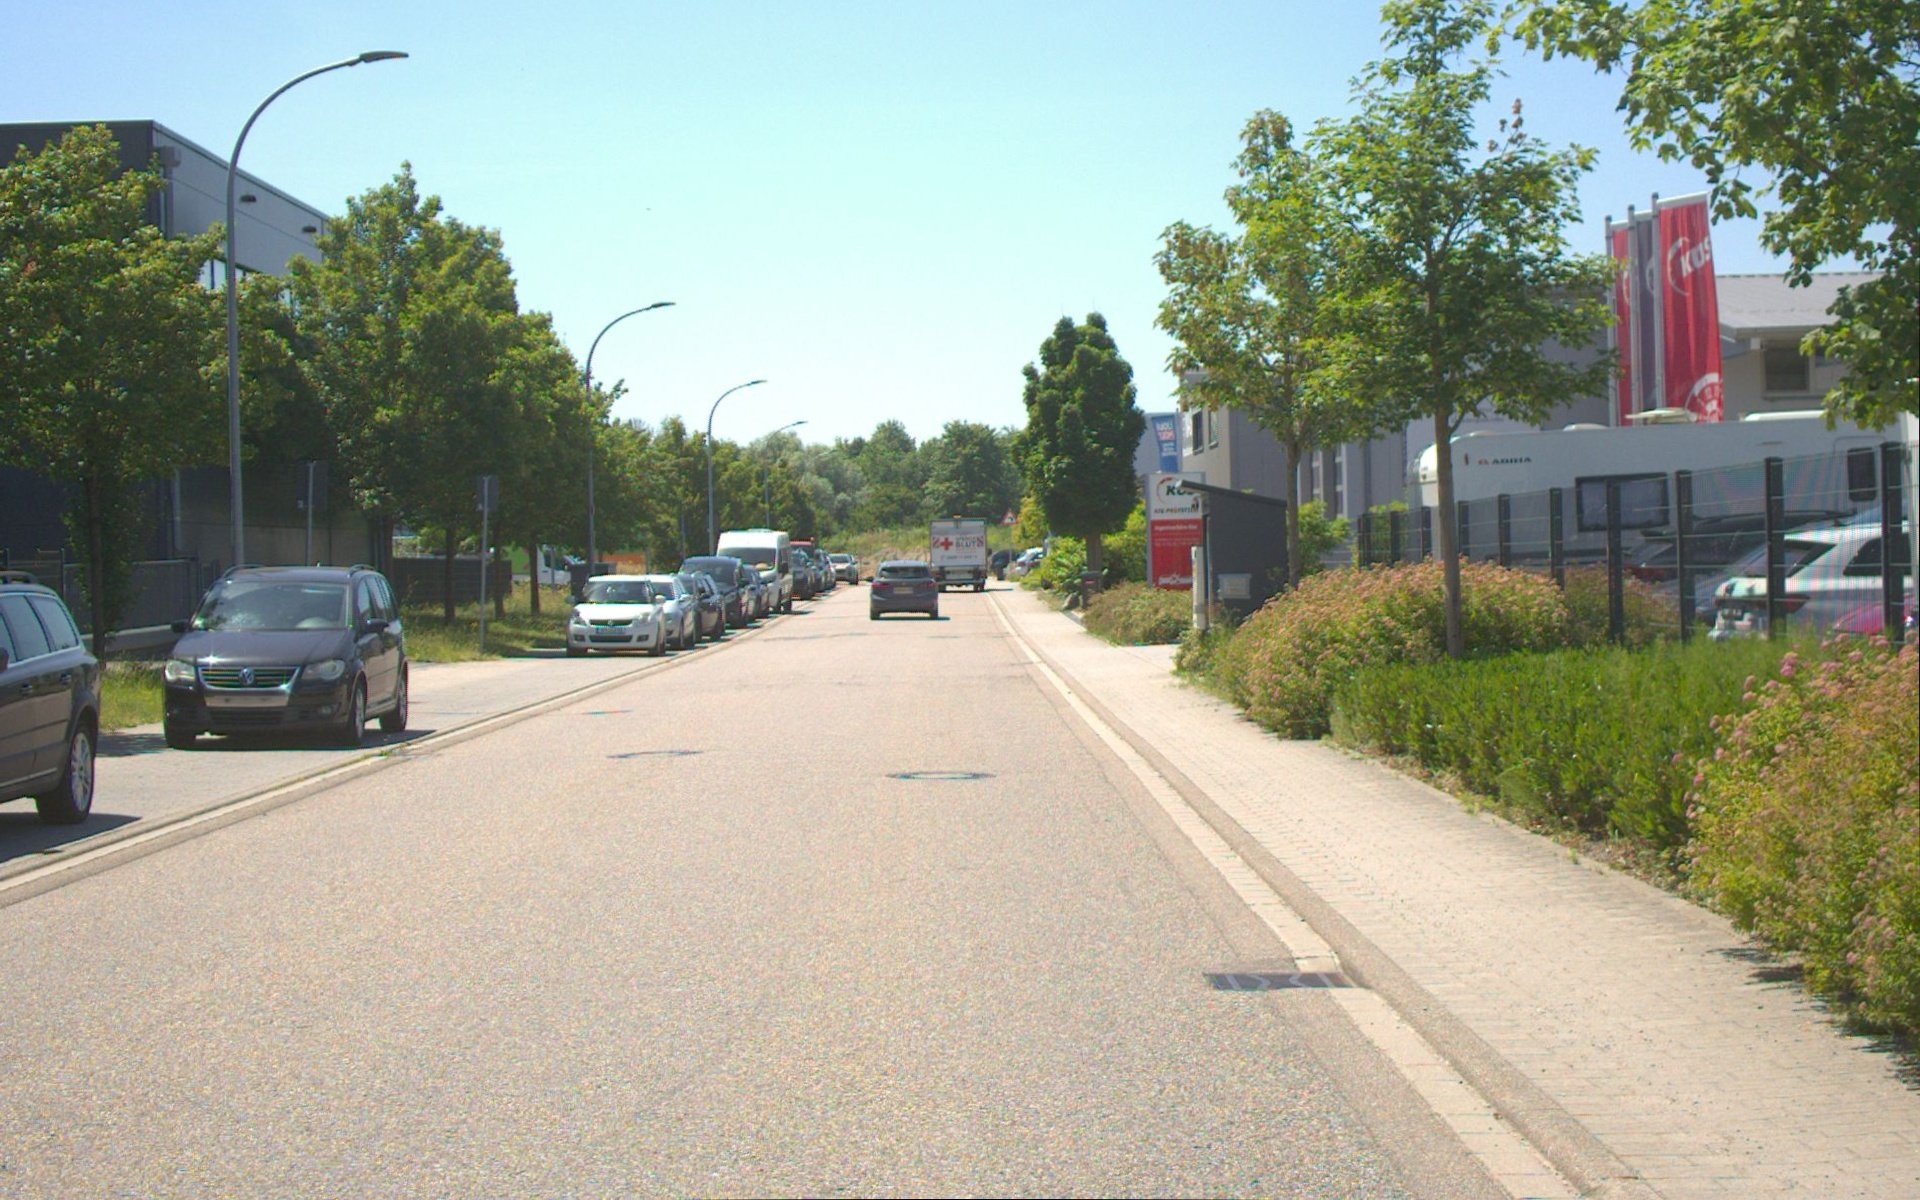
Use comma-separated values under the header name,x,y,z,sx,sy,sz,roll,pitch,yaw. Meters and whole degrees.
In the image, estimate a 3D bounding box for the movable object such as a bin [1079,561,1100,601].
name,x,y,z,sx,sy,sz,roll,pitch,yaw
movable object such as a bin,3.516,-0.516,93.225,0.531,1.049,0.845,-2,0,2

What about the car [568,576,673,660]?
name,x,y,z,sx,sy,sz,roll,pitch,yaw
car,-6.308,0.312,64.212,1.720,1.471,3.858,-1,1,-2

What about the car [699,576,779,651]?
name,x,y,z,sx,sy,sz,roll,pitch,yaw
car,-5.603,0.329,87.480,1.799,1.808,4.252,-1,1,-1

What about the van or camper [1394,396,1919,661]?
name,x,y,z,sx,sy,sz,roll,pitch,yaw
van or camper,8.275,-0.785,37.033,6.757,2.576,2.636,-2,1,-1

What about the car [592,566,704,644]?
name,x,y,z,sx,sy,sz,roll,pitch,yaw
car,-6.265,0.076,69.472,1.799,1.471,4.555,-1,1,0

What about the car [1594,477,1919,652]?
name,x,y,z,sx,sy,sz,roll,pitch,yaw
car,8.513,-0.388,33.814,4.137,1.531,1.808,-3,1,-1

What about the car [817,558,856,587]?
name,x,y,z,sx,sy,sz,roll,pitch,yaw
car,-6.574,-1.469,182.844,1.799,1.482,4.252,-1,1,2

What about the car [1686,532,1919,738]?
name,x,y,z,sx,sy,sz,roll,pitch,yaw
car,7.729,0.184,26.319,3.839,1.435,1.806,-3,1,-4

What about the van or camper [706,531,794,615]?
name,x,y,z,sx,sy,sz,roll,pitch,yaw
van or camper,-6.380,-0.849,105.256,2.079,2.474,6.130,1,1,2

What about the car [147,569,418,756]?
name,x,y,z,sx,sy,sz,roll,pitch,yaw
car,-6.284,0.527,32.320,1.770,1.606,4.248,-1,1,-1

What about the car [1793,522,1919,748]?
name,x,y,z,sx,sy,sz,roll,pitch,yaw
car,7.931,0.142,23.644,3.891,1.470,1.806,-3,1,-1

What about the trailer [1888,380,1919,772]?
name,x,y,z,sx,sy,sz,roll,pitch,yaw
trailer,7.274,-0.205,20.735,2.822,2.395,1.420,-3,1,-4

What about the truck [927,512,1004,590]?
name,x,y,z,sx,sy,sz,roll,pitch,yaw
truck,0.231,-1.942,136.654,2.933,2.963,6.419,1,1,0

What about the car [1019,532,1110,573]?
name,x,y,z,sx,sy,sz,roll,pitch,yaw
car,4.615,-2.080,151.854,3.875,1.744,1.752,1,1,-2

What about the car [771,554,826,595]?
name,x,y,z,sx,sy,sz,roll,pitch,yaw
car,-6.246,-1.003,133.054,1.799,1.482,4.252,-1,1,2

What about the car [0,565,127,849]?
name,x,y,z,sx,sy,sz,roll,pitch,yaw
car,-6.371,0.616,20.374,1.770,1.606,4.852,-1,1,-1

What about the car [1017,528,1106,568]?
name,x,y,z,sx,sy,sz,roll,pitch,yaw
car,4.559,-2.332,154.318,3.875,1.744,1.752,1,1,-2

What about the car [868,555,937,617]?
name,x,y,z,sx,sy,sz,roll,pitch,yaw
car,-1.514,-0.391,92.356,1.789,1.618,3.809,1,1,0
